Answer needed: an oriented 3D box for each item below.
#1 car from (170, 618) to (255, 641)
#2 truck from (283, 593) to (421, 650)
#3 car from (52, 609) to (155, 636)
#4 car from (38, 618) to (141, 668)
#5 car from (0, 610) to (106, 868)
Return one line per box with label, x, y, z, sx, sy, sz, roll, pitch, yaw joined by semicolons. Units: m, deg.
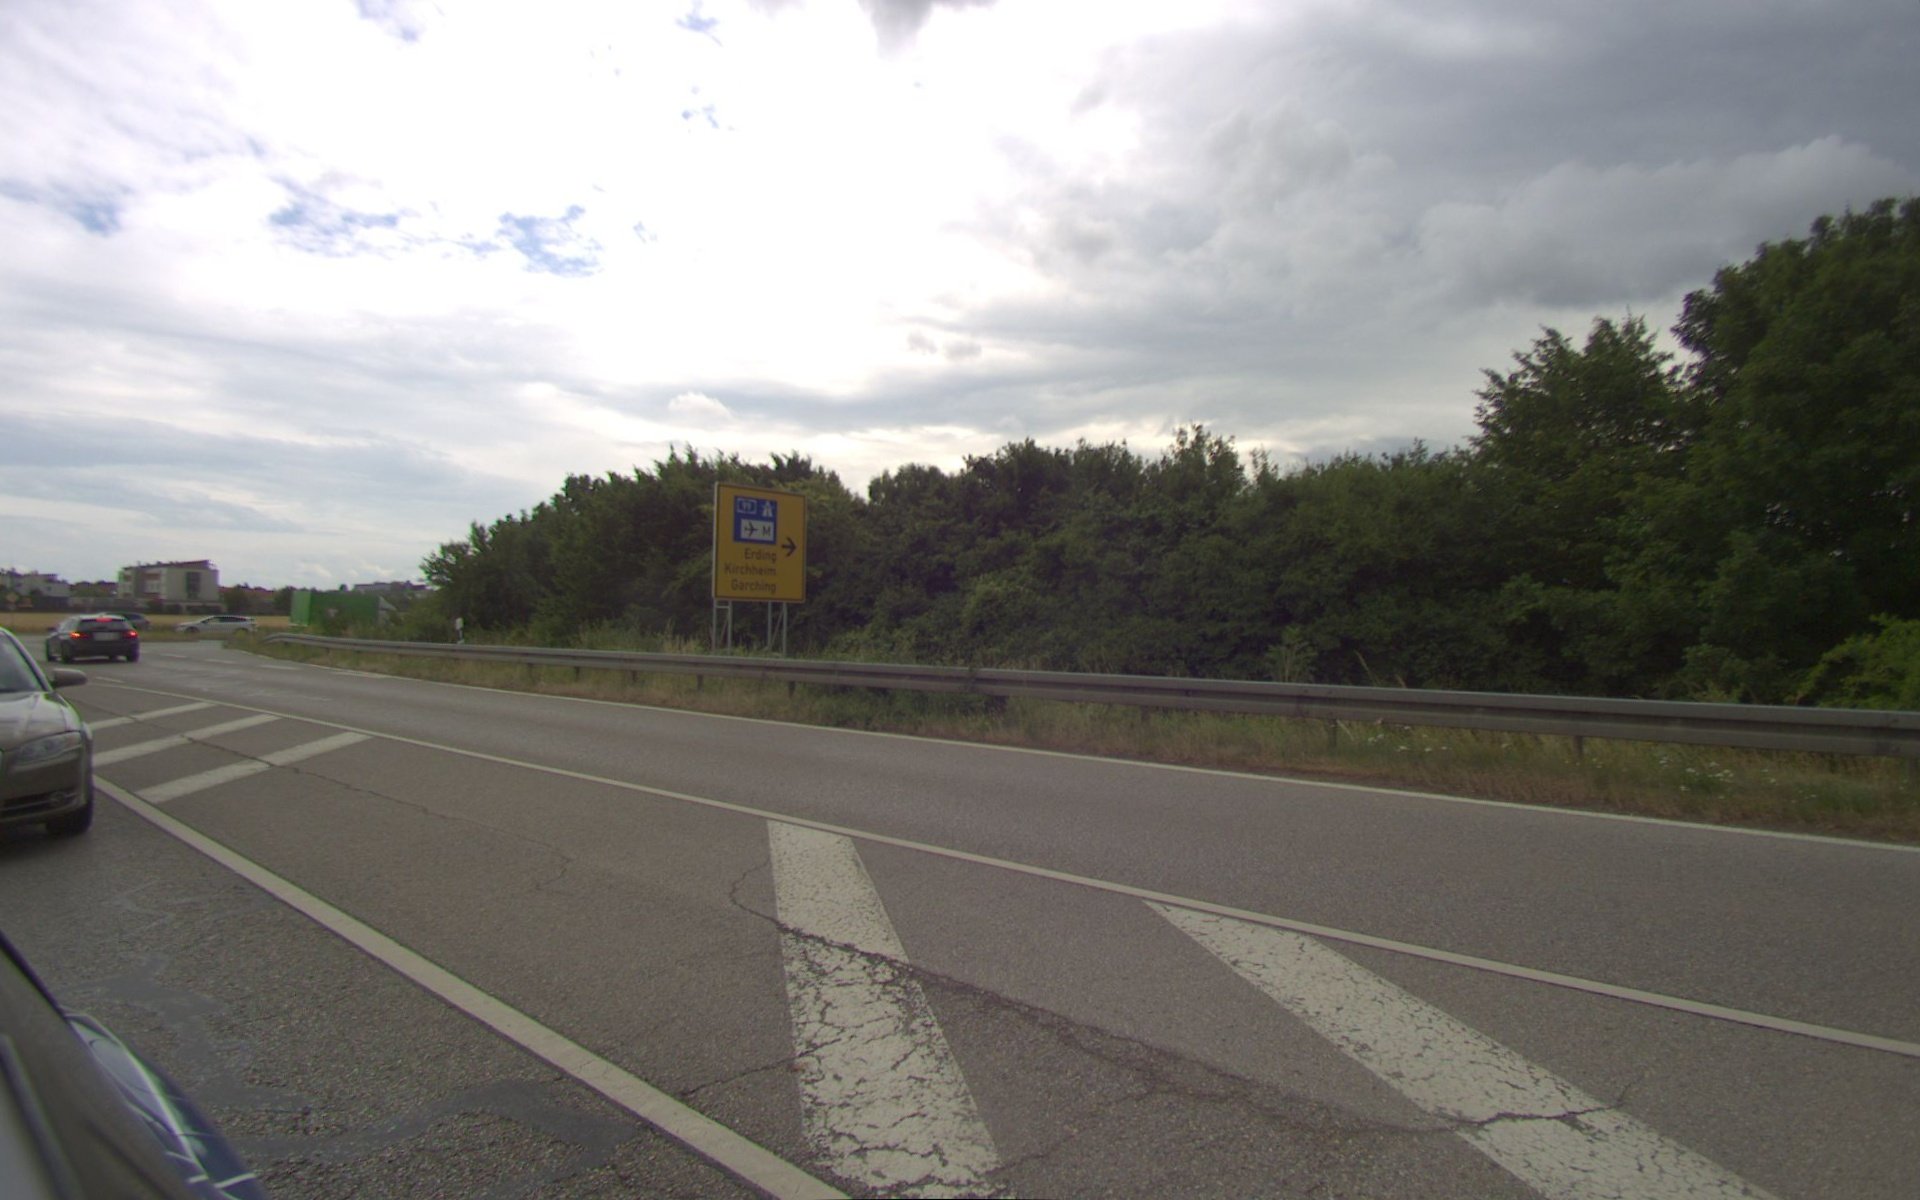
car;-51.629;2.032;69.944;4.605;1.510;2.003;1;-1;-40
truck;-41.287;1.372;68.956;2.925;3.589;7.518;-1;0;34
car;-55.415;1.461;65.576;1.997;1.702;4.758;-1;-1;37
car;-27.308;1.293;31.701;4.443;1.461;1.781;-1;-1;40
car;-7.260;0.808;6.792;4.202;1.455;1.708;-1;-1;41
